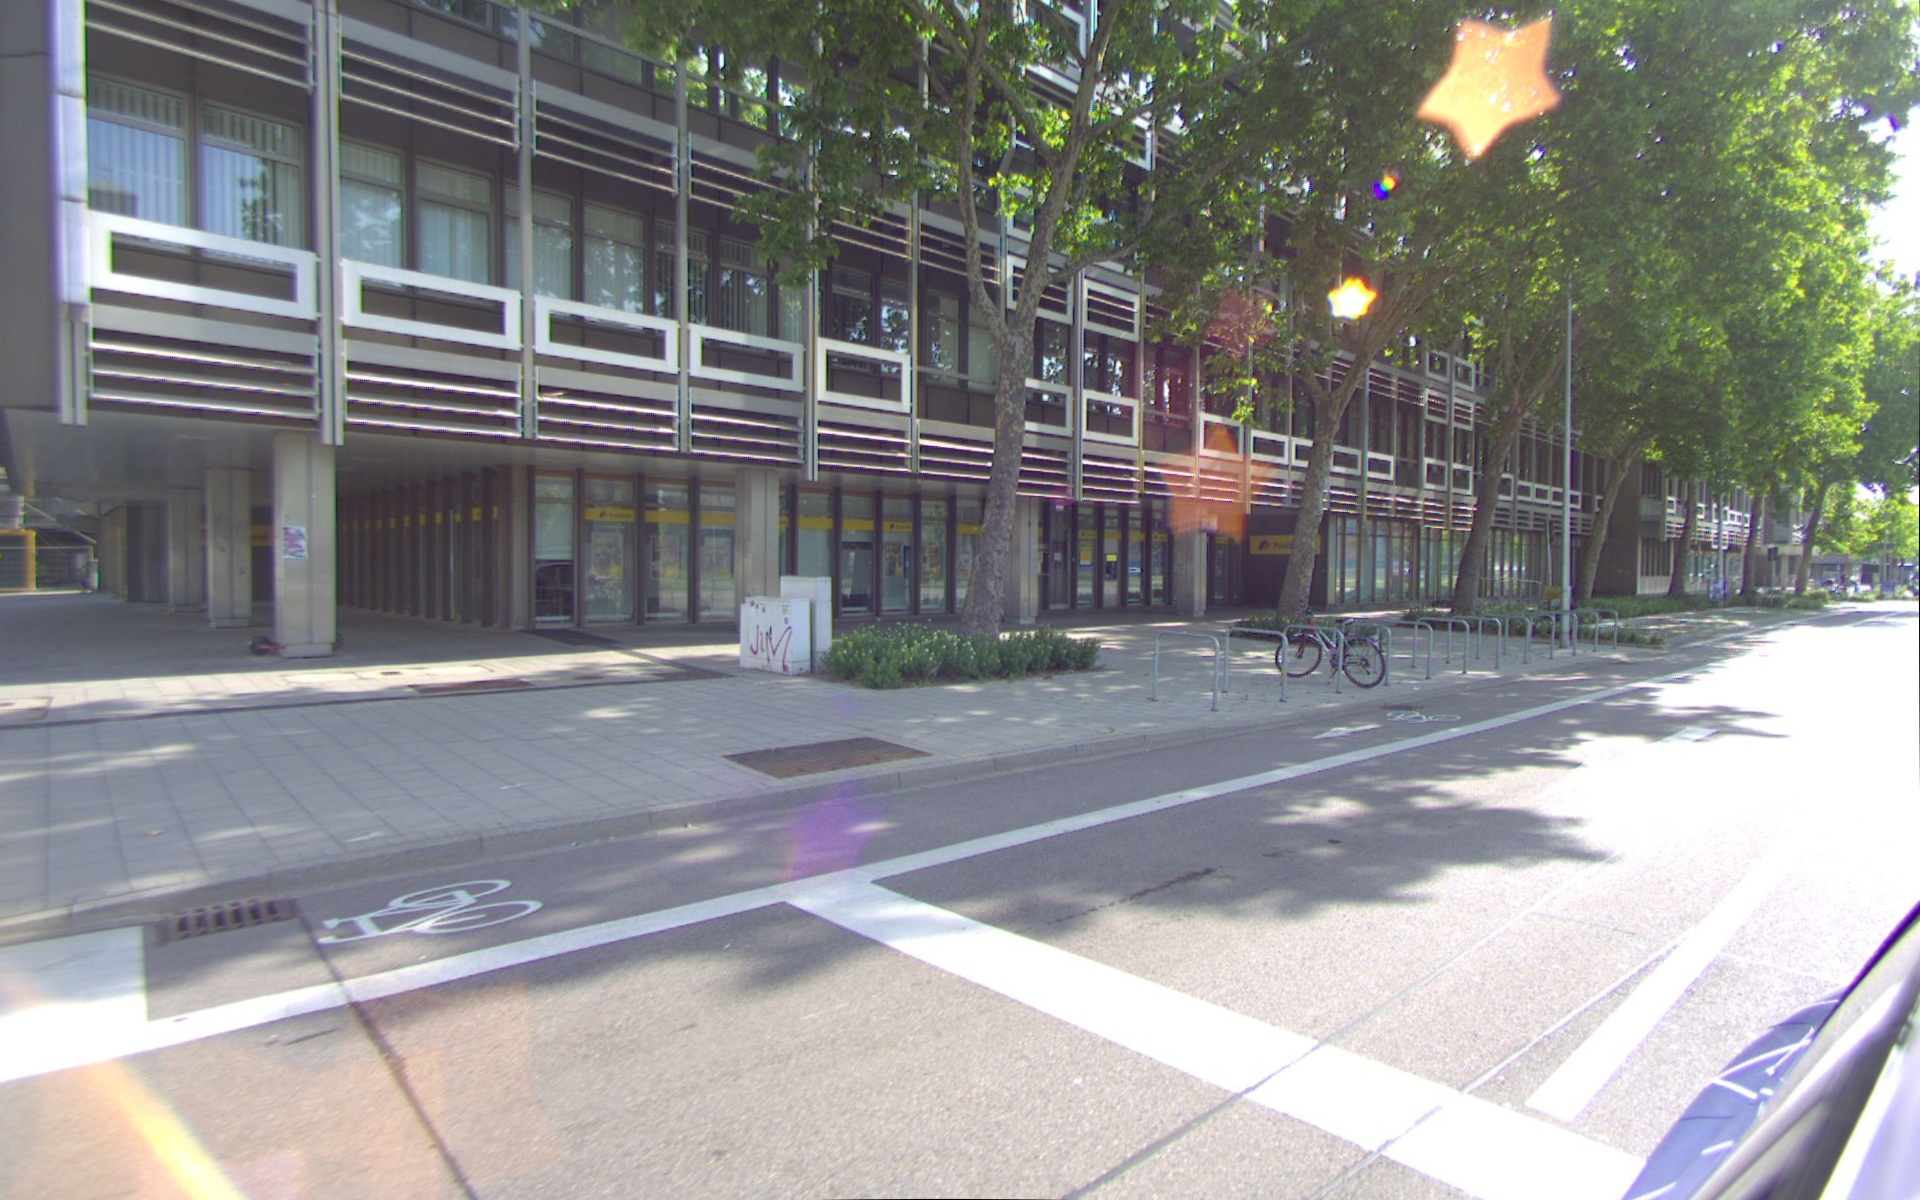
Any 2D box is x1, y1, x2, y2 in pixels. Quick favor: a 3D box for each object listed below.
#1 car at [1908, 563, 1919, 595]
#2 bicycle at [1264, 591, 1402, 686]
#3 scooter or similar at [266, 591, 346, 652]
[{"bbox_3d":[63.194,-1.390,65.784,3.933,2.039,1.995,-2,1,-43],"label":"car"},{"bbox_3d":[5.287,0.510,14.446,0.527,1.202,1.833,-1,3,-37],"label":"bicycle"},{"bbox_3d":[-9.492,0.297,14.696,0.943,0.853,0.279,-1,2,-43],"label":"scooter or similar"}]
